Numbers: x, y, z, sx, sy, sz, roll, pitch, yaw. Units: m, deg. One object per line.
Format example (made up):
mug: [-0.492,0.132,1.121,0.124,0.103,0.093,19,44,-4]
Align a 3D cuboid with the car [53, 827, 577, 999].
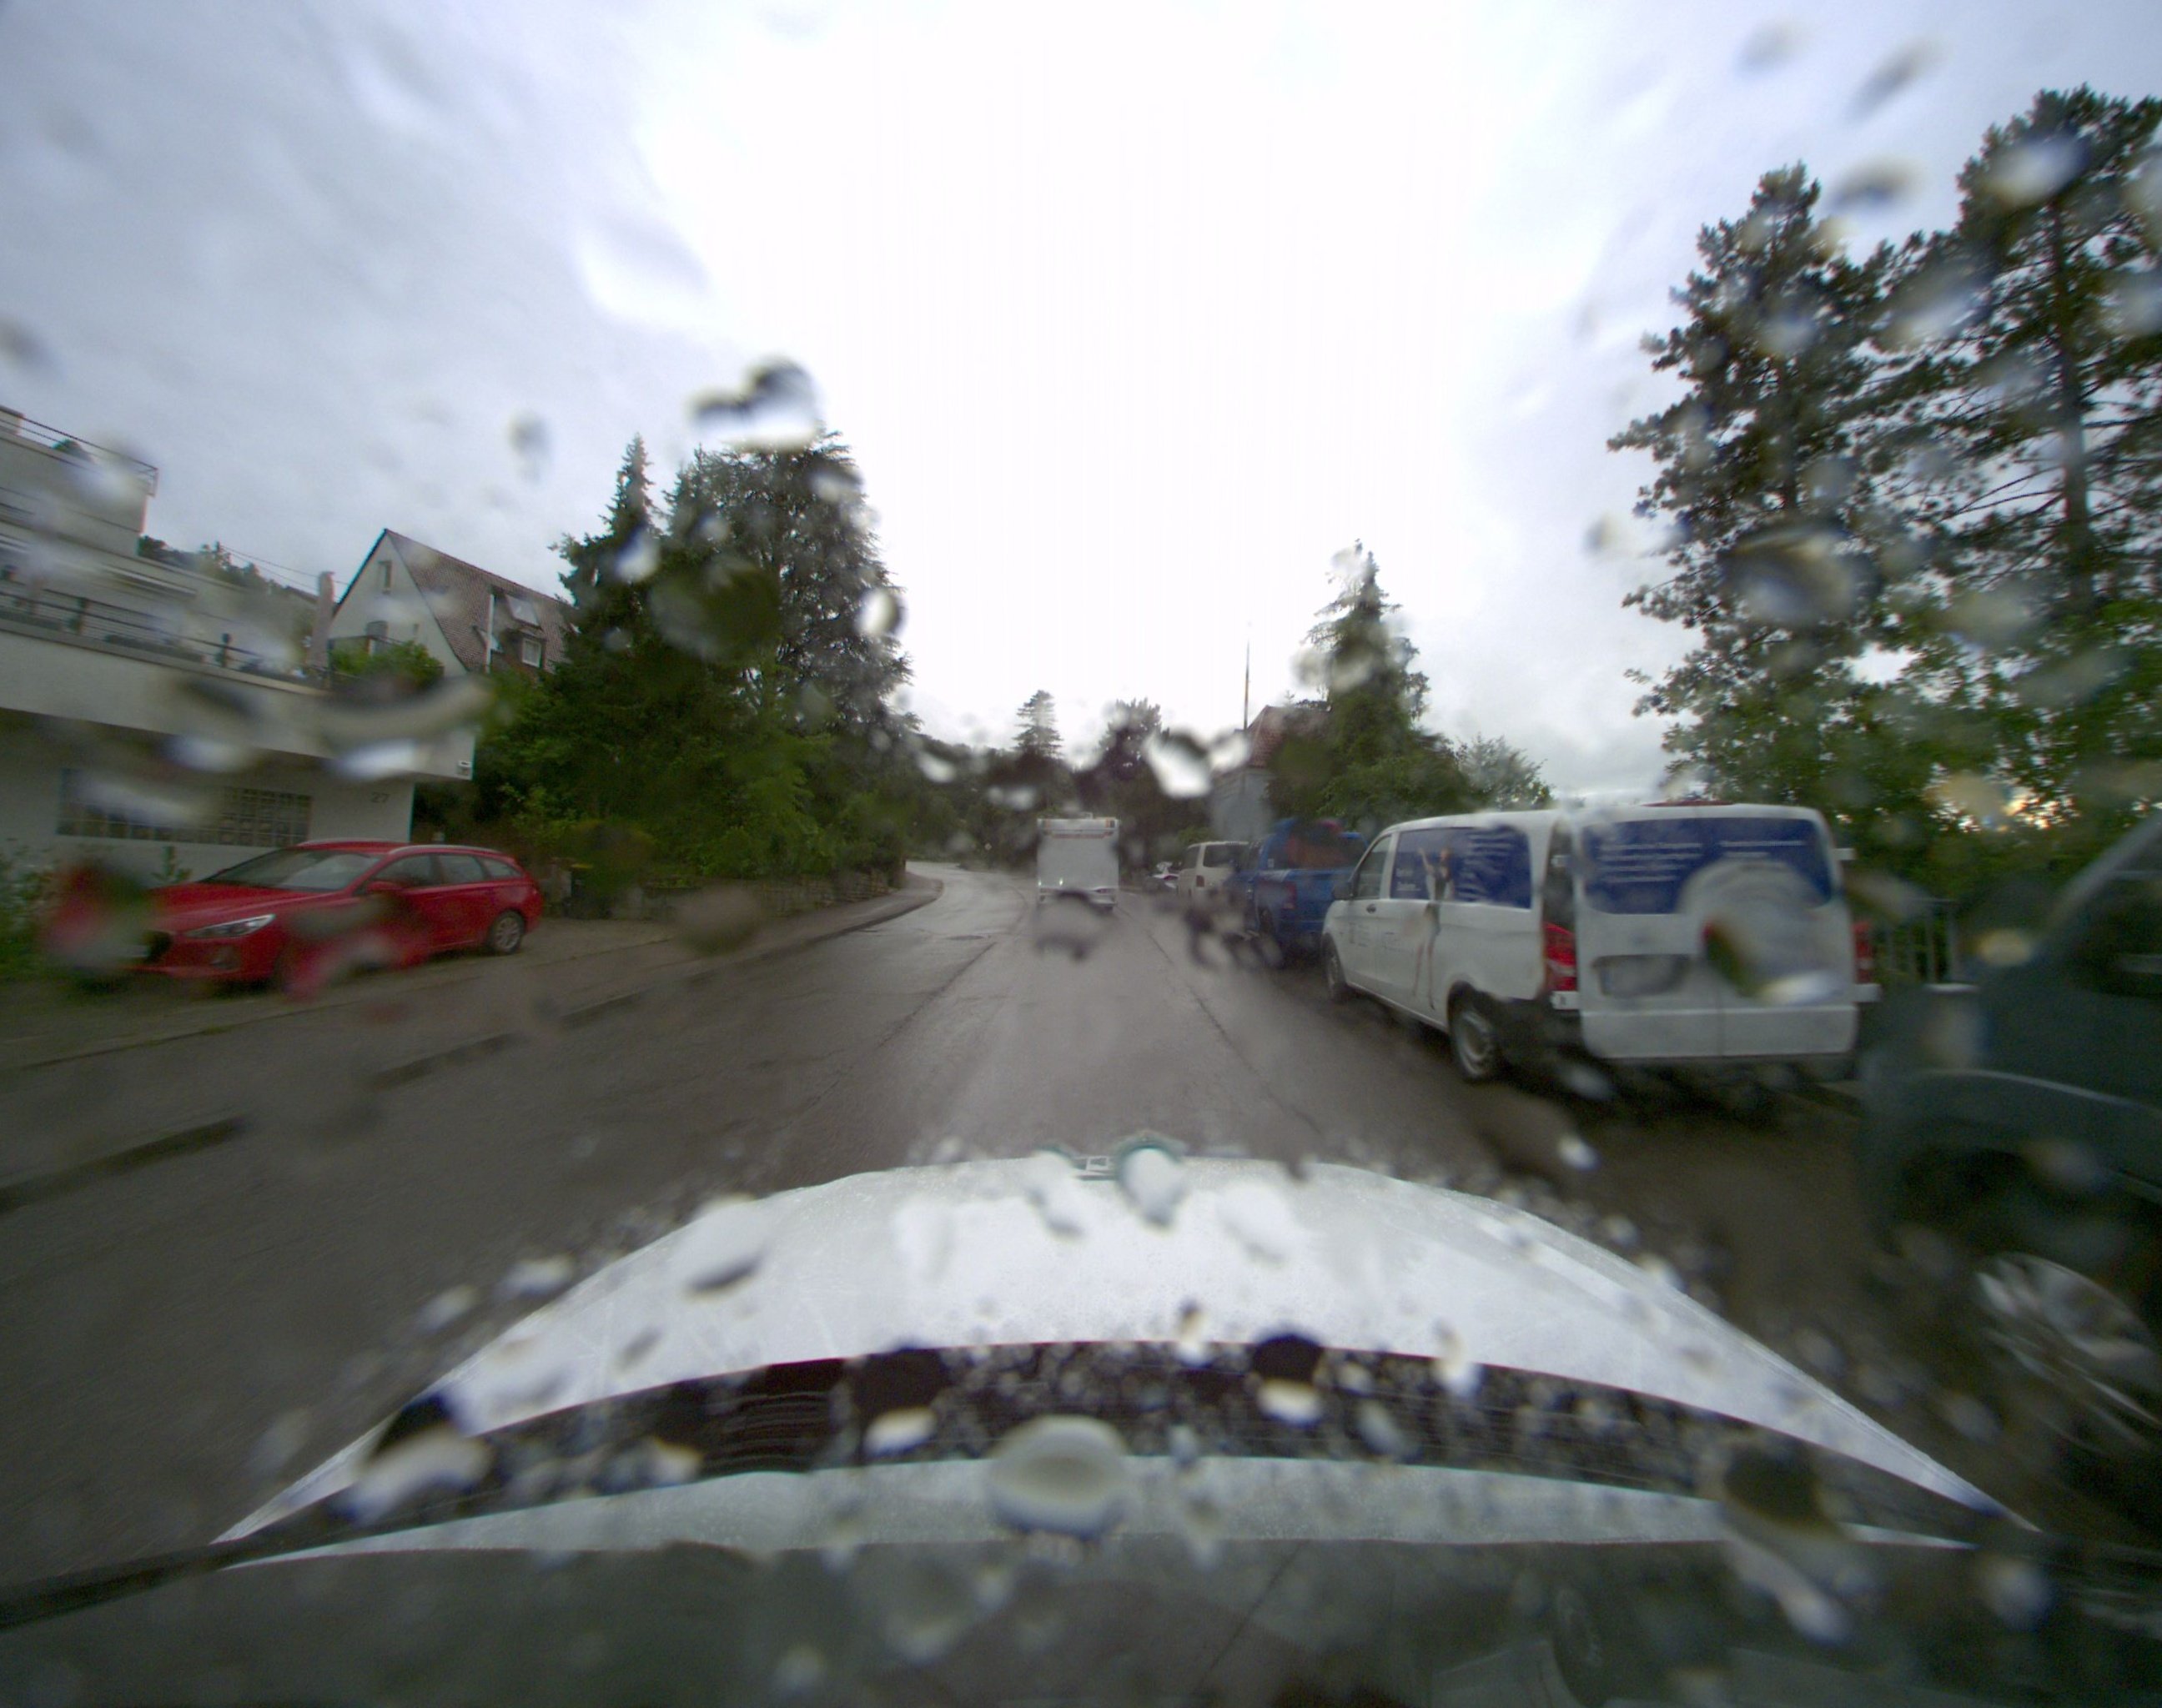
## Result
car: [-8.469,0.552,9.793,1.768,1.437,4.589,5,0,1]

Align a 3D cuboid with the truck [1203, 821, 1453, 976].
truck: [3.550,0.565,13.370,2.107,1.852,6.618,2,0,0]

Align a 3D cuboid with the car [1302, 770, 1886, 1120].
car: [3.461,0.501,7.010,1.820,1.842,5.271,-1,0,2]

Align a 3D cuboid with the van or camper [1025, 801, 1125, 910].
van or camper: [-0.200,0.124,24.694,2.608,2.853,6.027,1,-2,-1]

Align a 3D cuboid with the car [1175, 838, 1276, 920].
car: [3.730,0.602,21.950,1.854,1.921,5.079,1,0,0]

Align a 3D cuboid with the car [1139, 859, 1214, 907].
car: [3.161,0.939,27.800,1.683,1.457,4.049,1,0,-6]

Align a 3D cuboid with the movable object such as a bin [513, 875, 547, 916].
movable object such as a bin: [-10.702,0.805,15.818,0.386,0.767,0.368,1,0,12]

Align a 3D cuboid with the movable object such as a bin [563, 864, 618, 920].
movable object such as a bin: [-9.556,0.726,15.890,0.573,1.056,0.685,1,0,12]
